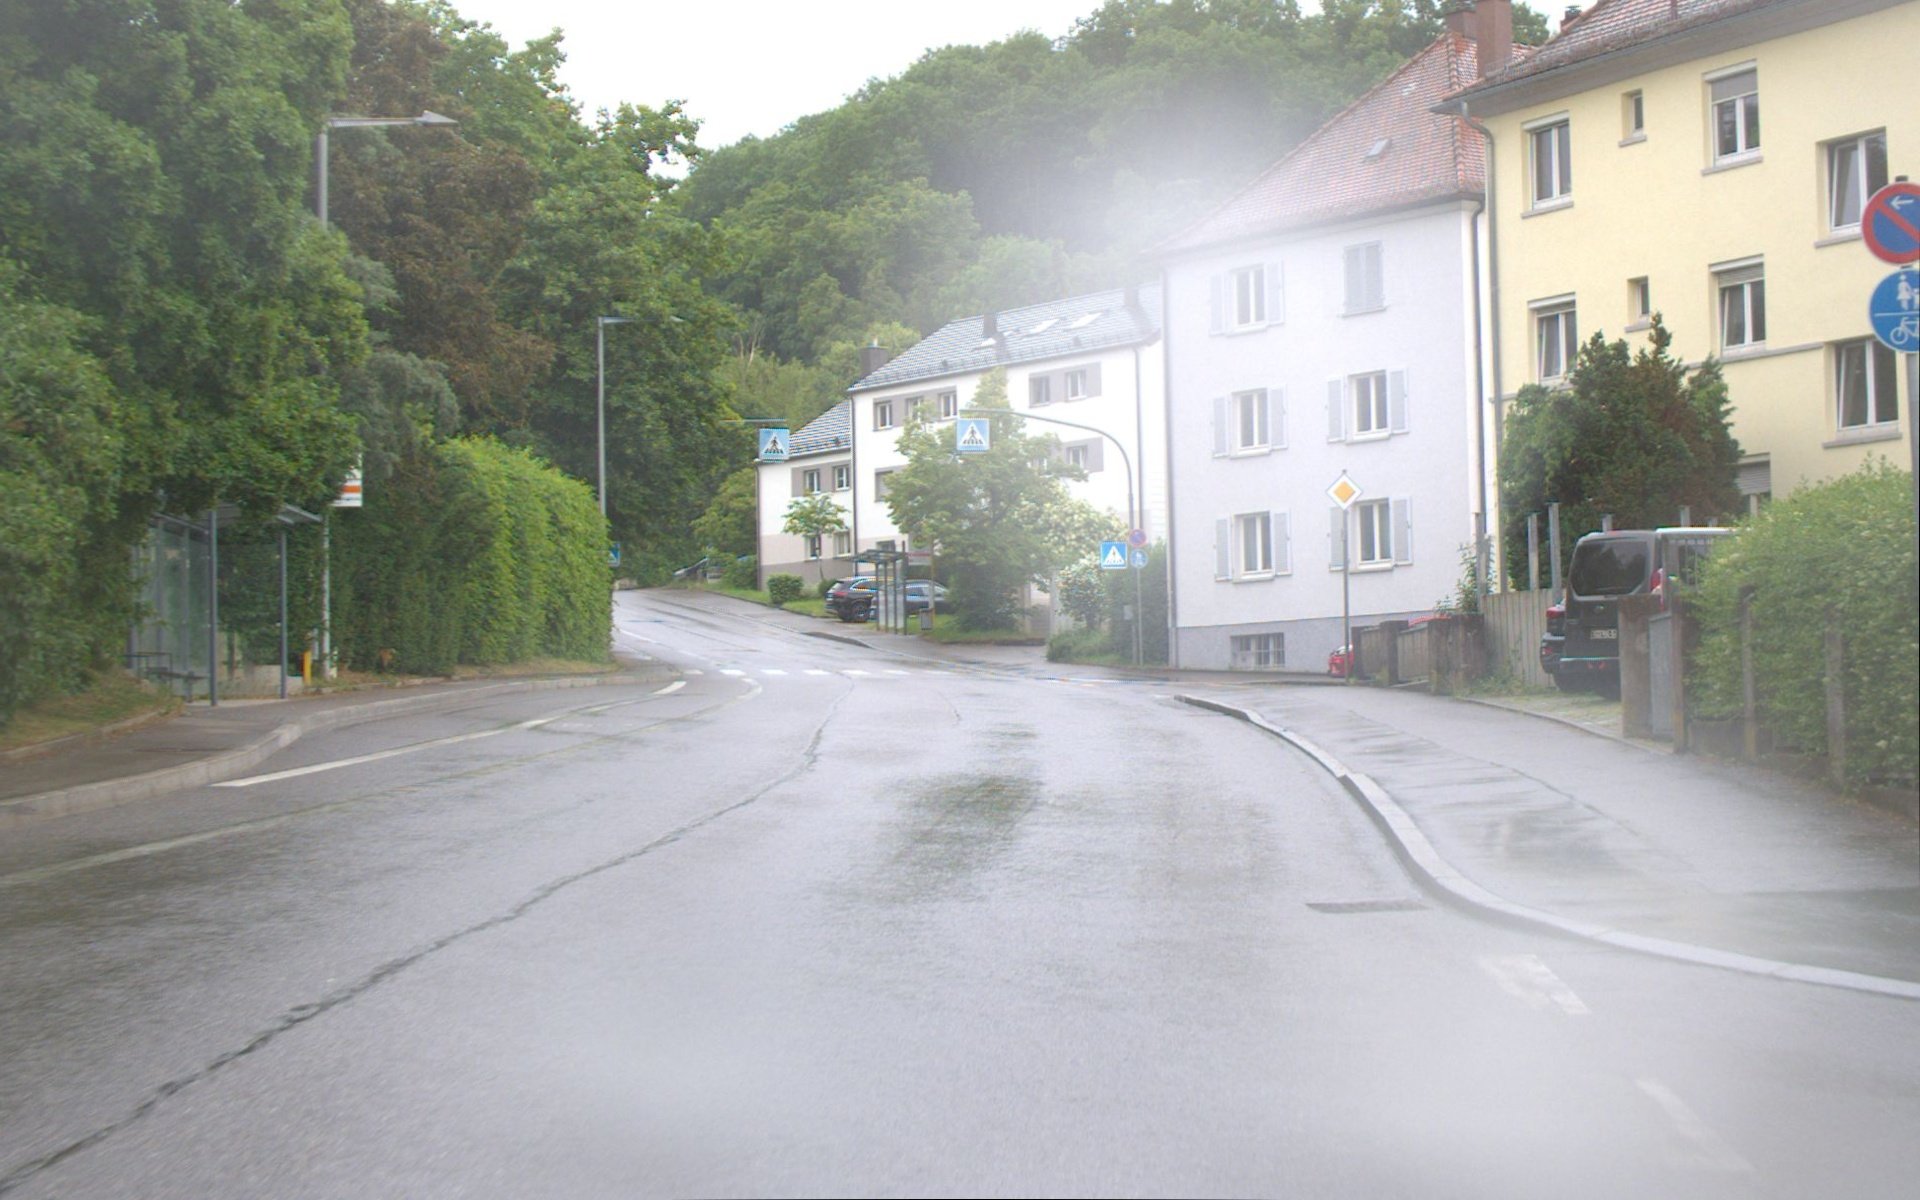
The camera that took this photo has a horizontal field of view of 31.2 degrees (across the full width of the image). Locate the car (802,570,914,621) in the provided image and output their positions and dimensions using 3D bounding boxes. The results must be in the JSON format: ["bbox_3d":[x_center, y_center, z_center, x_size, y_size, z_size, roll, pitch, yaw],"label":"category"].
[{"bbox_3d":[-3.874,-0.149,130.485,3.986,1.766,2.000,2,-2,-9],"label":"car"}]

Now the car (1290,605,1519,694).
[{"bbox_3d":[8.772,0.986,67.917,3.985,1.612,2.000,2,-2,-18],"label":"car"}]

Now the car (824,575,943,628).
[{"bbox_3d":[-2.771,0.058,123.985,3.986,1.766,2.000,2,-2,-9],"label":"car"}]

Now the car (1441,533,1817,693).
[{"bbox_3d":[8.111,0.187,41.763,3.985,1.766,2.000,2,-2,-18],"label":"car"}]

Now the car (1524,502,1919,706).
[{"bbox_3d":[8.357,0.078,37.055,3.985,2.007,2.000,2,-2,-18],"label":"car"}]
